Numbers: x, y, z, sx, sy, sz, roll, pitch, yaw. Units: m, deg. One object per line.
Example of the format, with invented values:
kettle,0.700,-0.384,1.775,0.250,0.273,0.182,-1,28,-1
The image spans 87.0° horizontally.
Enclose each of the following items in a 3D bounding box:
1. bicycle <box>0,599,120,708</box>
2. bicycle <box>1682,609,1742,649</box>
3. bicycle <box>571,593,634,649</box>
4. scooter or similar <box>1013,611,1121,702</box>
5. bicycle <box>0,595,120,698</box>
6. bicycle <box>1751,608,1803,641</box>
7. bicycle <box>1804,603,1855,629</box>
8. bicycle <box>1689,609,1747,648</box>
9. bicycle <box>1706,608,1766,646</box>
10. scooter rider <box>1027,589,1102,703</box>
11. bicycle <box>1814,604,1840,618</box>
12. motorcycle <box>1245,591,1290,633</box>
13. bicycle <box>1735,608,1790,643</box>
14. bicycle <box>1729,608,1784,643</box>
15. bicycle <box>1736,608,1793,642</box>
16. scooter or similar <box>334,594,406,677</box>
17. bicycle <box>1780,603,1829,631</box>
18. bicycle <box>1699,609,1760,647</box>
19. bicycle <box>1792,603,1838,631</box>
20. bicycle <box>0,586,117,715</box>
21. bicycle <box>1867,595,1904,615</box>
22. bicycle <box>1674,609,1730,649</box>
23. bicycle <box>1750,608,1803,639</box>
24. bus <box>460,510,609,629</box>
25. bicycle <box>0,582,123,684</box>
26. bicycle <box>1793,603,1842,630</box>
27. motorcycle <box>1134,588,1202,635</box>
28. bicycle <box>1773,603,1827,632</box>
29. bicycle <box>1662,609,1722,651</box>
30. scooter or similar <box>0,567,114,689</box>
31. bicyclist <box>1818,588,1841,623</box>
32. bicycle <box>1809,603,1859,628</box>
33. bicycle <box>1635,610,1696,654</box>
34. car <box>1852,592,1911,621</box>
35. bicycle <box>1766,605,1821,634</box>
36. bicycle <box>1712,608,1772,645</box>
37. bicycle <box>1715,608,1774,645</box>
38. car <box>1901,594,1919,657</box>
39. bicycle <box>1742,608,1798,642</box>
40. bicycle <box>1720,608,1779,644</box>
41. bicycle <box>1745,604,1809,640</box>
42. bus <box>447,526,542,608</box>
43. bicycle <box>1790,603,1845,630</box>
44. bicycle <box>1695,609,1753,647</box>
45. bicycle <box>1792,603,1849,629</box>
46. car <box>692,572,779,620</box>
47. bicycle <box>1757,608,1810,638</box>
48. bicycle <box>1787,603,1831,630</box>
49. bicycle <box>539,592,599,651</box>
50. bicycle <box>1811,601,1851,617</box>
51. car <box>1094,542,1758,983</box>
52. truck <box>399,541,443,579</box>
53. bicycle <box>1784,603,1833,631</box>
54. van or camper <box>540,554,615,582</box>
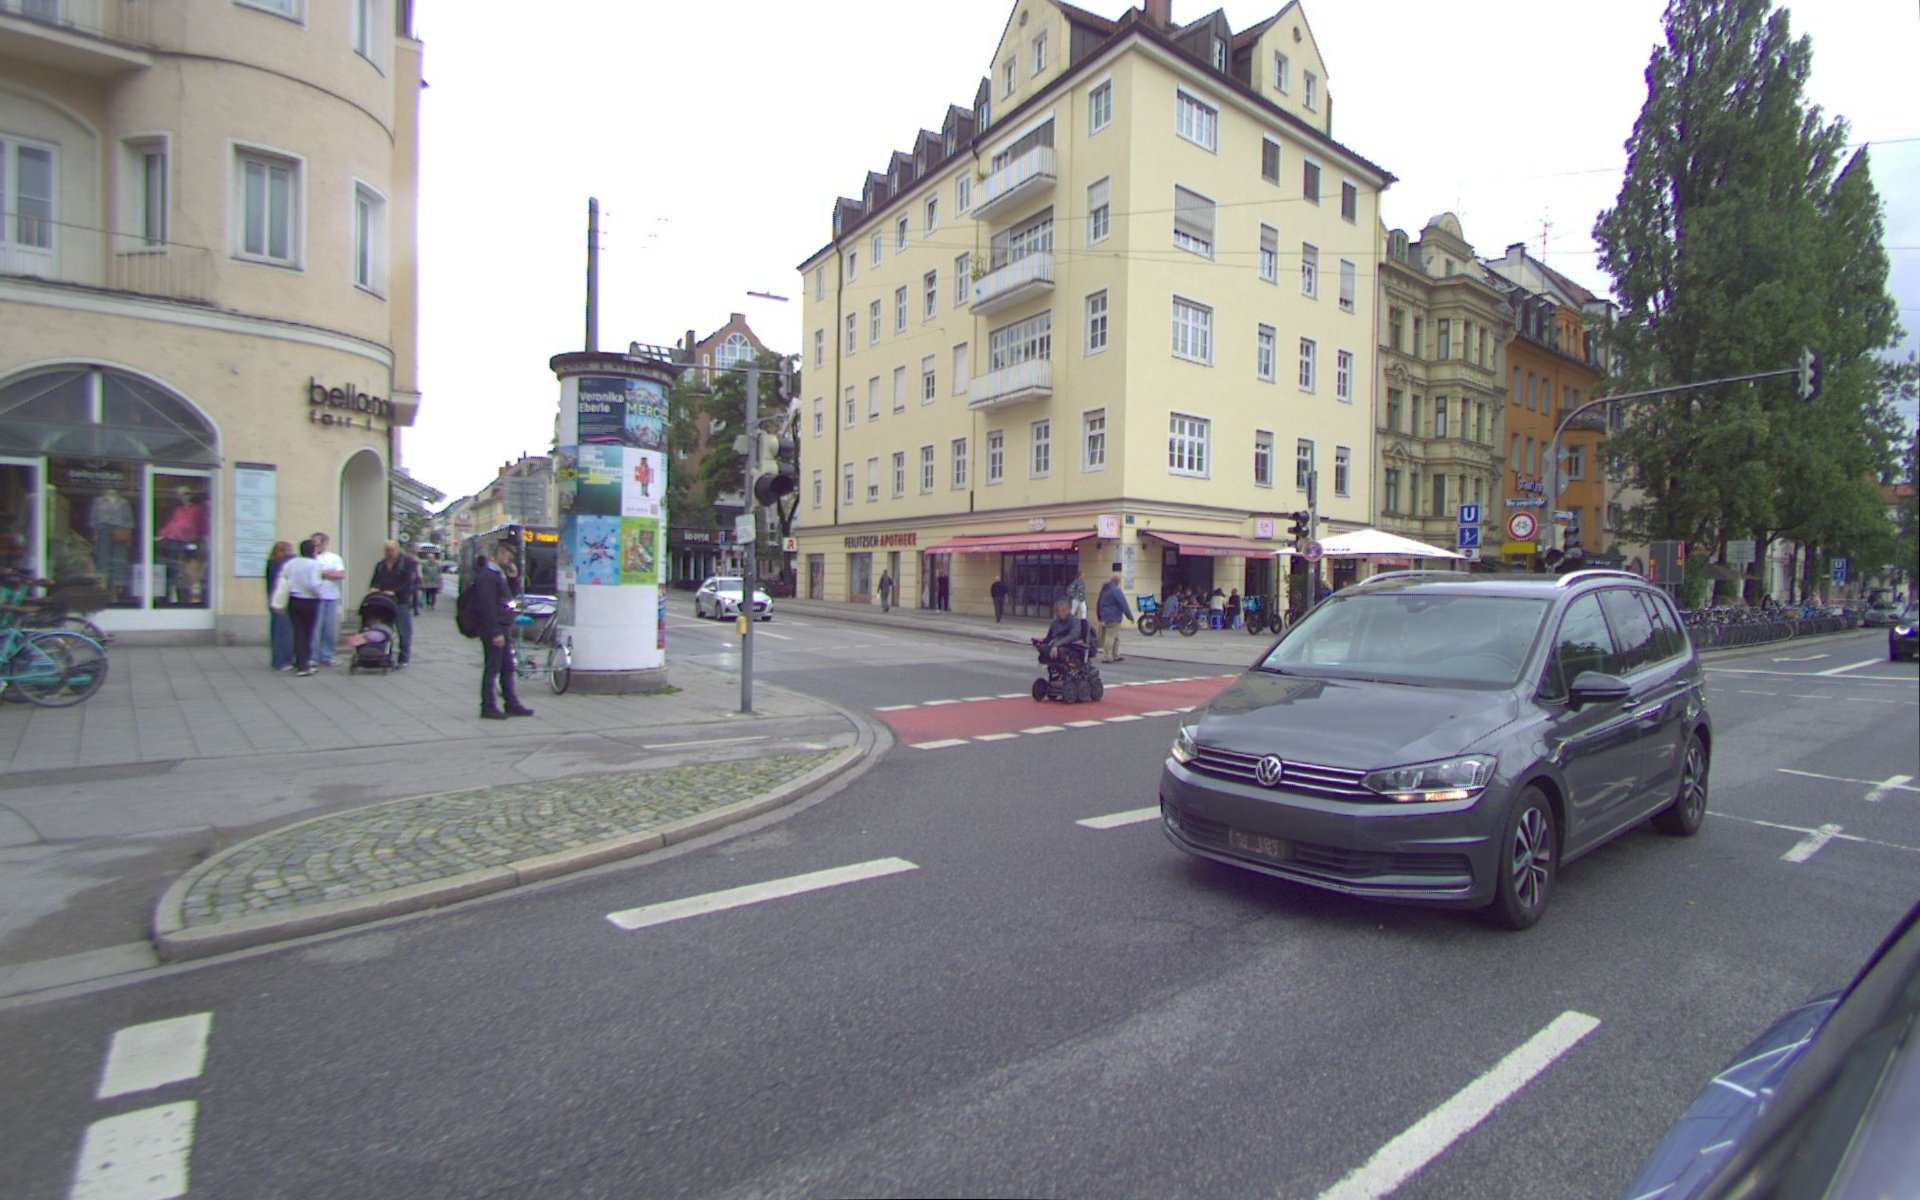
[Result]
bicycle,-9.033,0.491,9.437,1.833,0.987,0.495,0,1,-41
bicycle,21.312,0.803,28.716,0.341,1.008,1.841,2,2,2
bicycle,-7.162,0.398,20.261,1.574,1.046,0.353,2,1,36
scooter or similar,1.415,0.716,13.293,1.235,1.088,0.776,0,1,-42
bicycle,-9.468,0.451,9.959,1.833,0.987,0.495,0,1,-41
bicycle,27.520,0.807,34.126,0.319,1.008,1.841,2,2,4
bicycle,34.899,0.634,40.664,0.368,1.008,1.843,2,0,-3
bicycle,21.836,0.804,29.188,0.341,1.008,1.841,2,2,2
bicycle,23.342,0.804,30.477,0.341,1.008,1.843,1,2,-1
scooter rider,1.362,0.577,13.182,0.632,1.406,0.702,0,1,-42
bicycle,59.973,0.768,70.030,1.801,0.990,0.393,0,0,-14
motorcycle,9.021,0.339,29.680,1.543,1.171,0.487,0,1,-40
bicycle,25.943,0.806,32.752,0.341,1.008,1.841,2,2,3
bicycle,25.393,0.806,32.310,0.341,1.008,1.841,2,2,3
bicycle,26.410,0.807,33.250,0.341,1.008,1.843,1,2,-1
scooter or similar,-7.667,0.454,13.181,0.581,1.007,0.824,4,-1,-18
bicycle,31.287,0.629,37.510,0.319,1.008,1.841,2,0,2
bicycle,22.835,0.804,30.064,0.341,1.008,1.843,1,2,-1
bicycle,32.181,0.629,38.117,0.319,1.008,1.839,2,0,6
bicycle,-8.733,0.443,9.046,1.833,1.121,0.567,0,1,-41
bicycle,54.253,0.276,59.336,0.352,1.116,1.747,1,1,-6
bicycle,20.819,0.804,28.437,0.342,1.008,1.840,2,2,5
bicycle,28.424,0.808,35.275,0.319,1.008,1.842,2,0,-1
bus,-14.122,-1.007,32.676,2.758,3.004,13.623,2,1,-30
bicycle,-10.293,0.349,10.966,0.494,1.072,1.836,2,1,45
bicycle,32.889,0.630,38.843,0.319,1.008,1.841,2,0,2
motorcycle,5.714,0.301,27.780,1.745,1.215,0.538,1,1,21
bicycle,30.747,0.629,37.066,0.319,1.008,1.843,2,0,-4
bicycle,19.777,0.803,27.374,0.342,1.008,1.841,2,2,4
scooter or similar,-9.675,0.284,10.660,0.287,1.242,1.137,2,1,40
bicyclist,41.321,0.240,48.083,0.923,1.623,0.681,0,1,-41
bicycle,35.891,0.634,41.598,0.368,1.008,1.843,2,0,-3
bicycle,18.081,0.798,25.963,0.342,1.008,1.841,2,2,4
car,49.573,0.333,54.419,4.452,1.458,1.996,0,2,-43
bicycle,29.822,0.684,36.223,0.319,1.008,1.843,2,0,-4
bicycle,23.848,0.804,30.901,0.341,1.008,1.843,1,2,-1
bicycle,24.385,0.805,31.497,0.341,1.008,1.843,1,2,-1
car,25.339,0.586,25.619,3.901,1.523,1.778,-1,-1,-41
bicycle,26.918,0.807,33.660,0.341,1.008,1.843,1,2,-1
bicycle,24.869,0.805,31.921,0.341,1.008,1.843,1,2,-1
bicycle,27.960,0.737,34.677,0.457,1.126,1.845,2,1,-8
bus,-19.833,-1.416,42.772,2.758,3.004,9.598,2,1,-30
bicycle,33.309,0.630,39.338,0.318,1.008,1.845,2,0,-8
bicycle,22.329,0.804,29.617,0.341,1.008,1.841,2,2,2
bicycle,34.295,0.631,40.358,0.367,1.008,1.846,2,0,-16
car,-7.613,-0.177,34.053,1.856,1.439,4.006,-2,3,-28
bicycle,28.924,0.808,35.559,0.319,1.008,1.842,2,0,-1
bicycle,32.493,0.630,38.753,0.319,1.008,1.838,2,0,7
bicycle,-7.487,0.396,19.335,1.574,1.046,0.245,2,1,36
bicycle,54.055,0.570,62.832,0.385,0.928,1.838,0,1,-38
car,3.026,0.589,6.000,4.625,1.667,1.775,0,1,-40
truck,-61.483,-4.536,115.146,2.855,3.963,18.916,1,1,-32
bicycle,31.783,0.629,37.917,0.319,1.008,1.841,2,0,2
van or camper,-32.880,-2.753,87.168,1.985,2.306,6.065,2,1,32
